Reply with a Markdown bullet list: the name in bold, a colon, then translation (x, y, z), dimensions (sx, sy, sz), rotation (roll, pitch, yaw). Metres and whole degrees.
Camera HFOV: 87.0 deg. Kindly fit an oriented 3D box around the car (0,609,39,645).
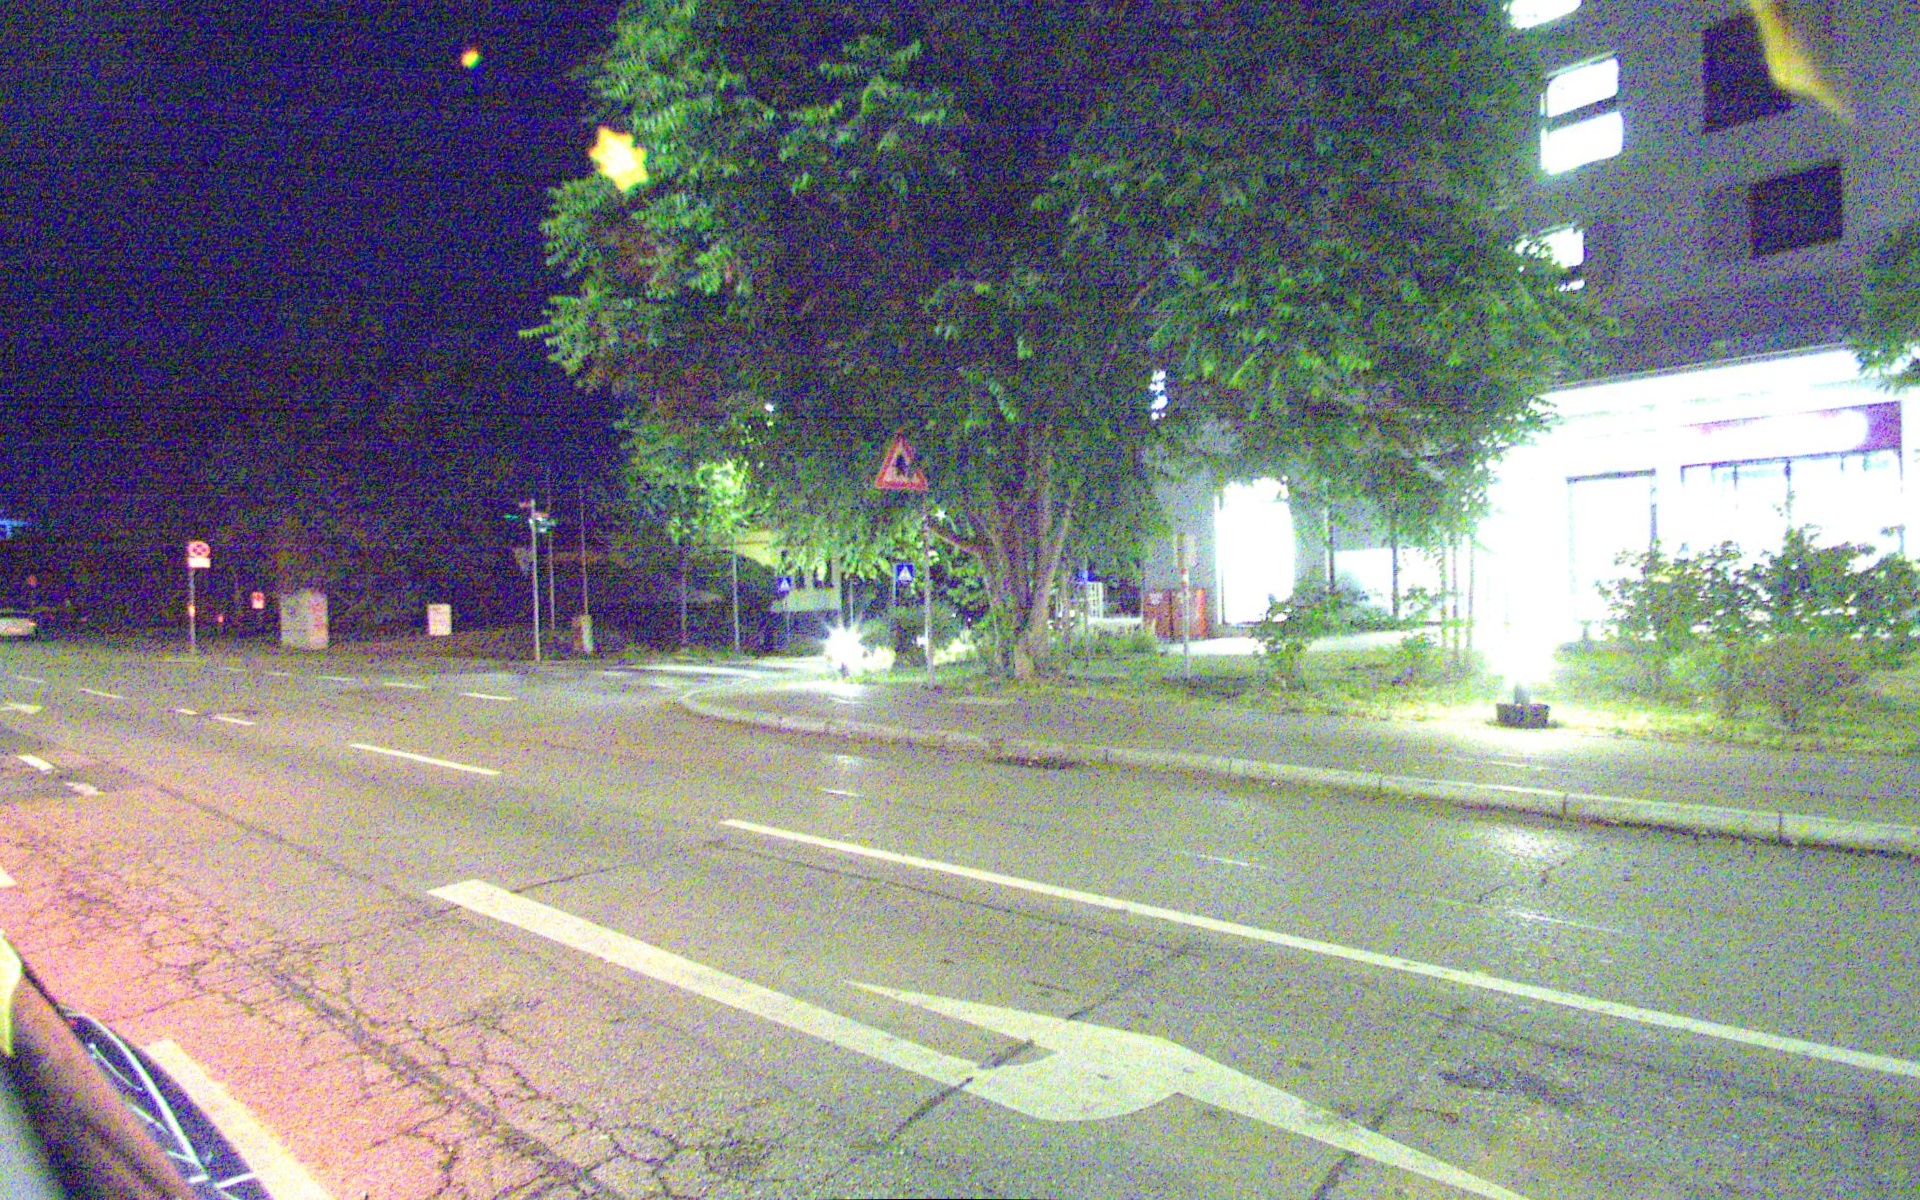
- **car**: translation (-43.254, 1.201, 45.794), dimensions (3.998, 1.464, 1.887), rotation (1, 2, 41)
